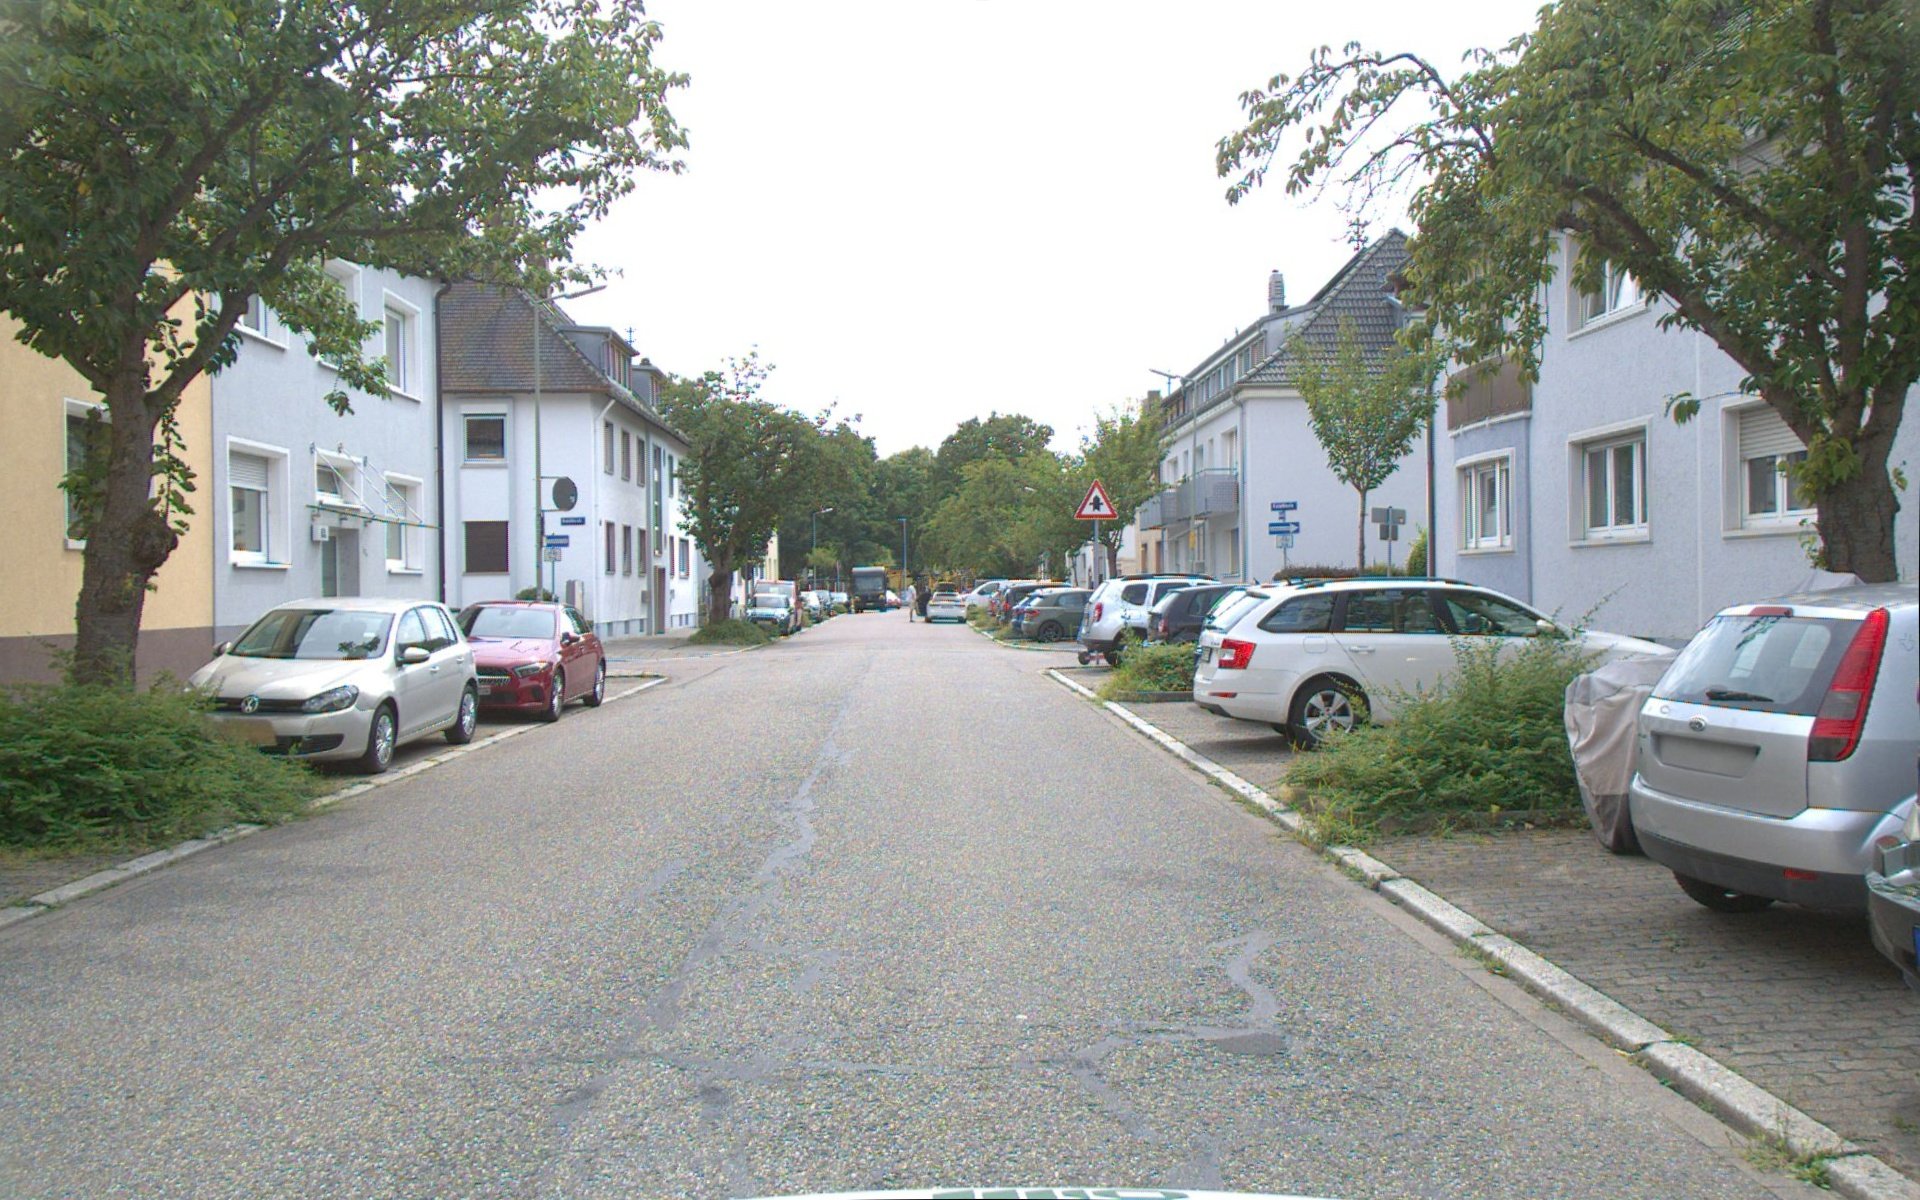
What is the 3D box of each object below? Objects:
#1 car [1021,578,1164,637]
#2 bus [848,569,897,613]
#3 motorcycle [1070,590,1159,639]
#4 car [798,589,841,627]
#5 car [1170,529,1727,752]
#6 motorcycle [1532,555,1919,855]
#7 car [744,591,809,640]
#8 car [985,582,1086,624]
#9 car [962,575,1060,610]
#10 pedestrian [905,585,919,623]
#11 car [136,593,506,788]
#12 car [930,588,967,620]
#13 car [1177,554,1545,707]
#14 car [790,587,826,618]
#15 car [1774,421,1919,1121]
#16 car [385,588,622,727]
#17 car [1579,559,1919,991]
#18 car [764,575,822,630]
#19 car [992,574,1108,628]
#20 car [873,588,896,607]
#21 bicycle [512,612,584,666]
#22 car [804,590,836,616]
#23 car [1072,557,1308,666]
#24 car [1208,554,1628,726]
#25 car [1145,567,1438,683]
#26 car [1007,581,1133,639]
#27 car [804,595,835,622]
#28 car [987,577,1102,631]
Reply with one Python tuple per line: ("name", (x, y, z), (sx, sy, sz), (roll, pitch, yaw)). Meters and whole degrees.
("car", (3.558, 0.202, 44.915), (3.671, 1.389, 1.773), (-3, 0, -1))
("bus", (-6.060, -0.646, 115.737), (2.943, 2.809, 8.922), (-3, 0, -1))
("motorcycle", (3.970, 0.367, 42.572), (2.150, 1.232, 0.939), (-1, 0, -4))
("car", (-6.002, 0.335, 70.936), (1.618, 1.487, 3.551), (-3, 0, -2))
("car", (4.355, 0.340, 15.270), (4.521, 1.693, 1.892), (-3, 0, -1))
("motorcycle", (4.619, 0.515, 9.007), (2.648, 1.489, 1.030), (-1, 0, -6))
("car", (-6.550, 0.533, 59.291), (1.727, 1.581, 3.732), (-3, 0, 2))
("car", (3.046, 0.110, 66.917), (3.907, 1.463, 1.722), (-3, 0, -2))
("car", (2.613, -0.400, 85.254), (4.877, 1.545, 1.767), (-3, 0, -4))
("pedestrian", (-2.200, 0.181, 76.037), (0.511, 1.734, 0.445), (-3, 0, 2))
("car", (-5.727, 0.721, 15.442), (1.736, 1.416, 4.274), (5, 0, -1))
("car", (-0.529, 0.172, 76.727), (1.653, 1.377, 3.826), (-3, 0, 0))
("car", (4.700, 0.340, 19.754), (3.907, 1.534, 1.712), (-3, 0, -2))
("car", (-7.560, 0.118, 82.521), (1.619, 1.401, 3.719), (-3, 0, -4))
("car", (4.774, 0.359, 4.229), (4.432, 1.890, 1.793), (-3, 0, 1))
("car", (-5.731, 0.647, 21.344), (1.839, 1.512, 4.511), (-3, 0, -1))
("car", (4.720, 0.545, 6.896), (3.555, 1.480, 1.771), (-3, 0, -6))
("car", (-6.543, 0.079, 65.132), (1.953, 2.049, 4.519), (-1, 0, -2))
("car", (3.139, 0.032, 58.114), (3.906, 1.646, 1.867), (-3, 0, -1))
("car", (-5.814, -0.192, 127.199), (1.719, 1.365, 3.998), (-2, 0, -2))
("bicycle", (-10.041, 0.946, 40.319), (1.602, 1.199, 0.434), (-3, 0, -6))
("car", (-8.129, 0.136, 96.509), (1.618, 1.401, 3.720), (-3, 0, -2))
("car", (4.017, 0.193, 29.313), (3.844, 1.661, 1.867), (-3, 0, -1))
("car", (4.744, 0.395, 17.498), (3.907, 1.534, 1.712), (-3, 0, -2))
("car", (4.807, 0.345, 24.345), (3.907, 1.446, 1.712), (-3, 0, -2))
("car", (3.139, 0.278, 47.592), (3.446, 1.437, 1.558), (-3, 0, -1))
("car", (-7.398, 0.424, 87.588), (1.508, 1.324, 3.719), (-3, 0, -4))
("car", (2.808, 0.131, 55.295), (3.671, 1.591, 1.773), (-3, 0, -1))
